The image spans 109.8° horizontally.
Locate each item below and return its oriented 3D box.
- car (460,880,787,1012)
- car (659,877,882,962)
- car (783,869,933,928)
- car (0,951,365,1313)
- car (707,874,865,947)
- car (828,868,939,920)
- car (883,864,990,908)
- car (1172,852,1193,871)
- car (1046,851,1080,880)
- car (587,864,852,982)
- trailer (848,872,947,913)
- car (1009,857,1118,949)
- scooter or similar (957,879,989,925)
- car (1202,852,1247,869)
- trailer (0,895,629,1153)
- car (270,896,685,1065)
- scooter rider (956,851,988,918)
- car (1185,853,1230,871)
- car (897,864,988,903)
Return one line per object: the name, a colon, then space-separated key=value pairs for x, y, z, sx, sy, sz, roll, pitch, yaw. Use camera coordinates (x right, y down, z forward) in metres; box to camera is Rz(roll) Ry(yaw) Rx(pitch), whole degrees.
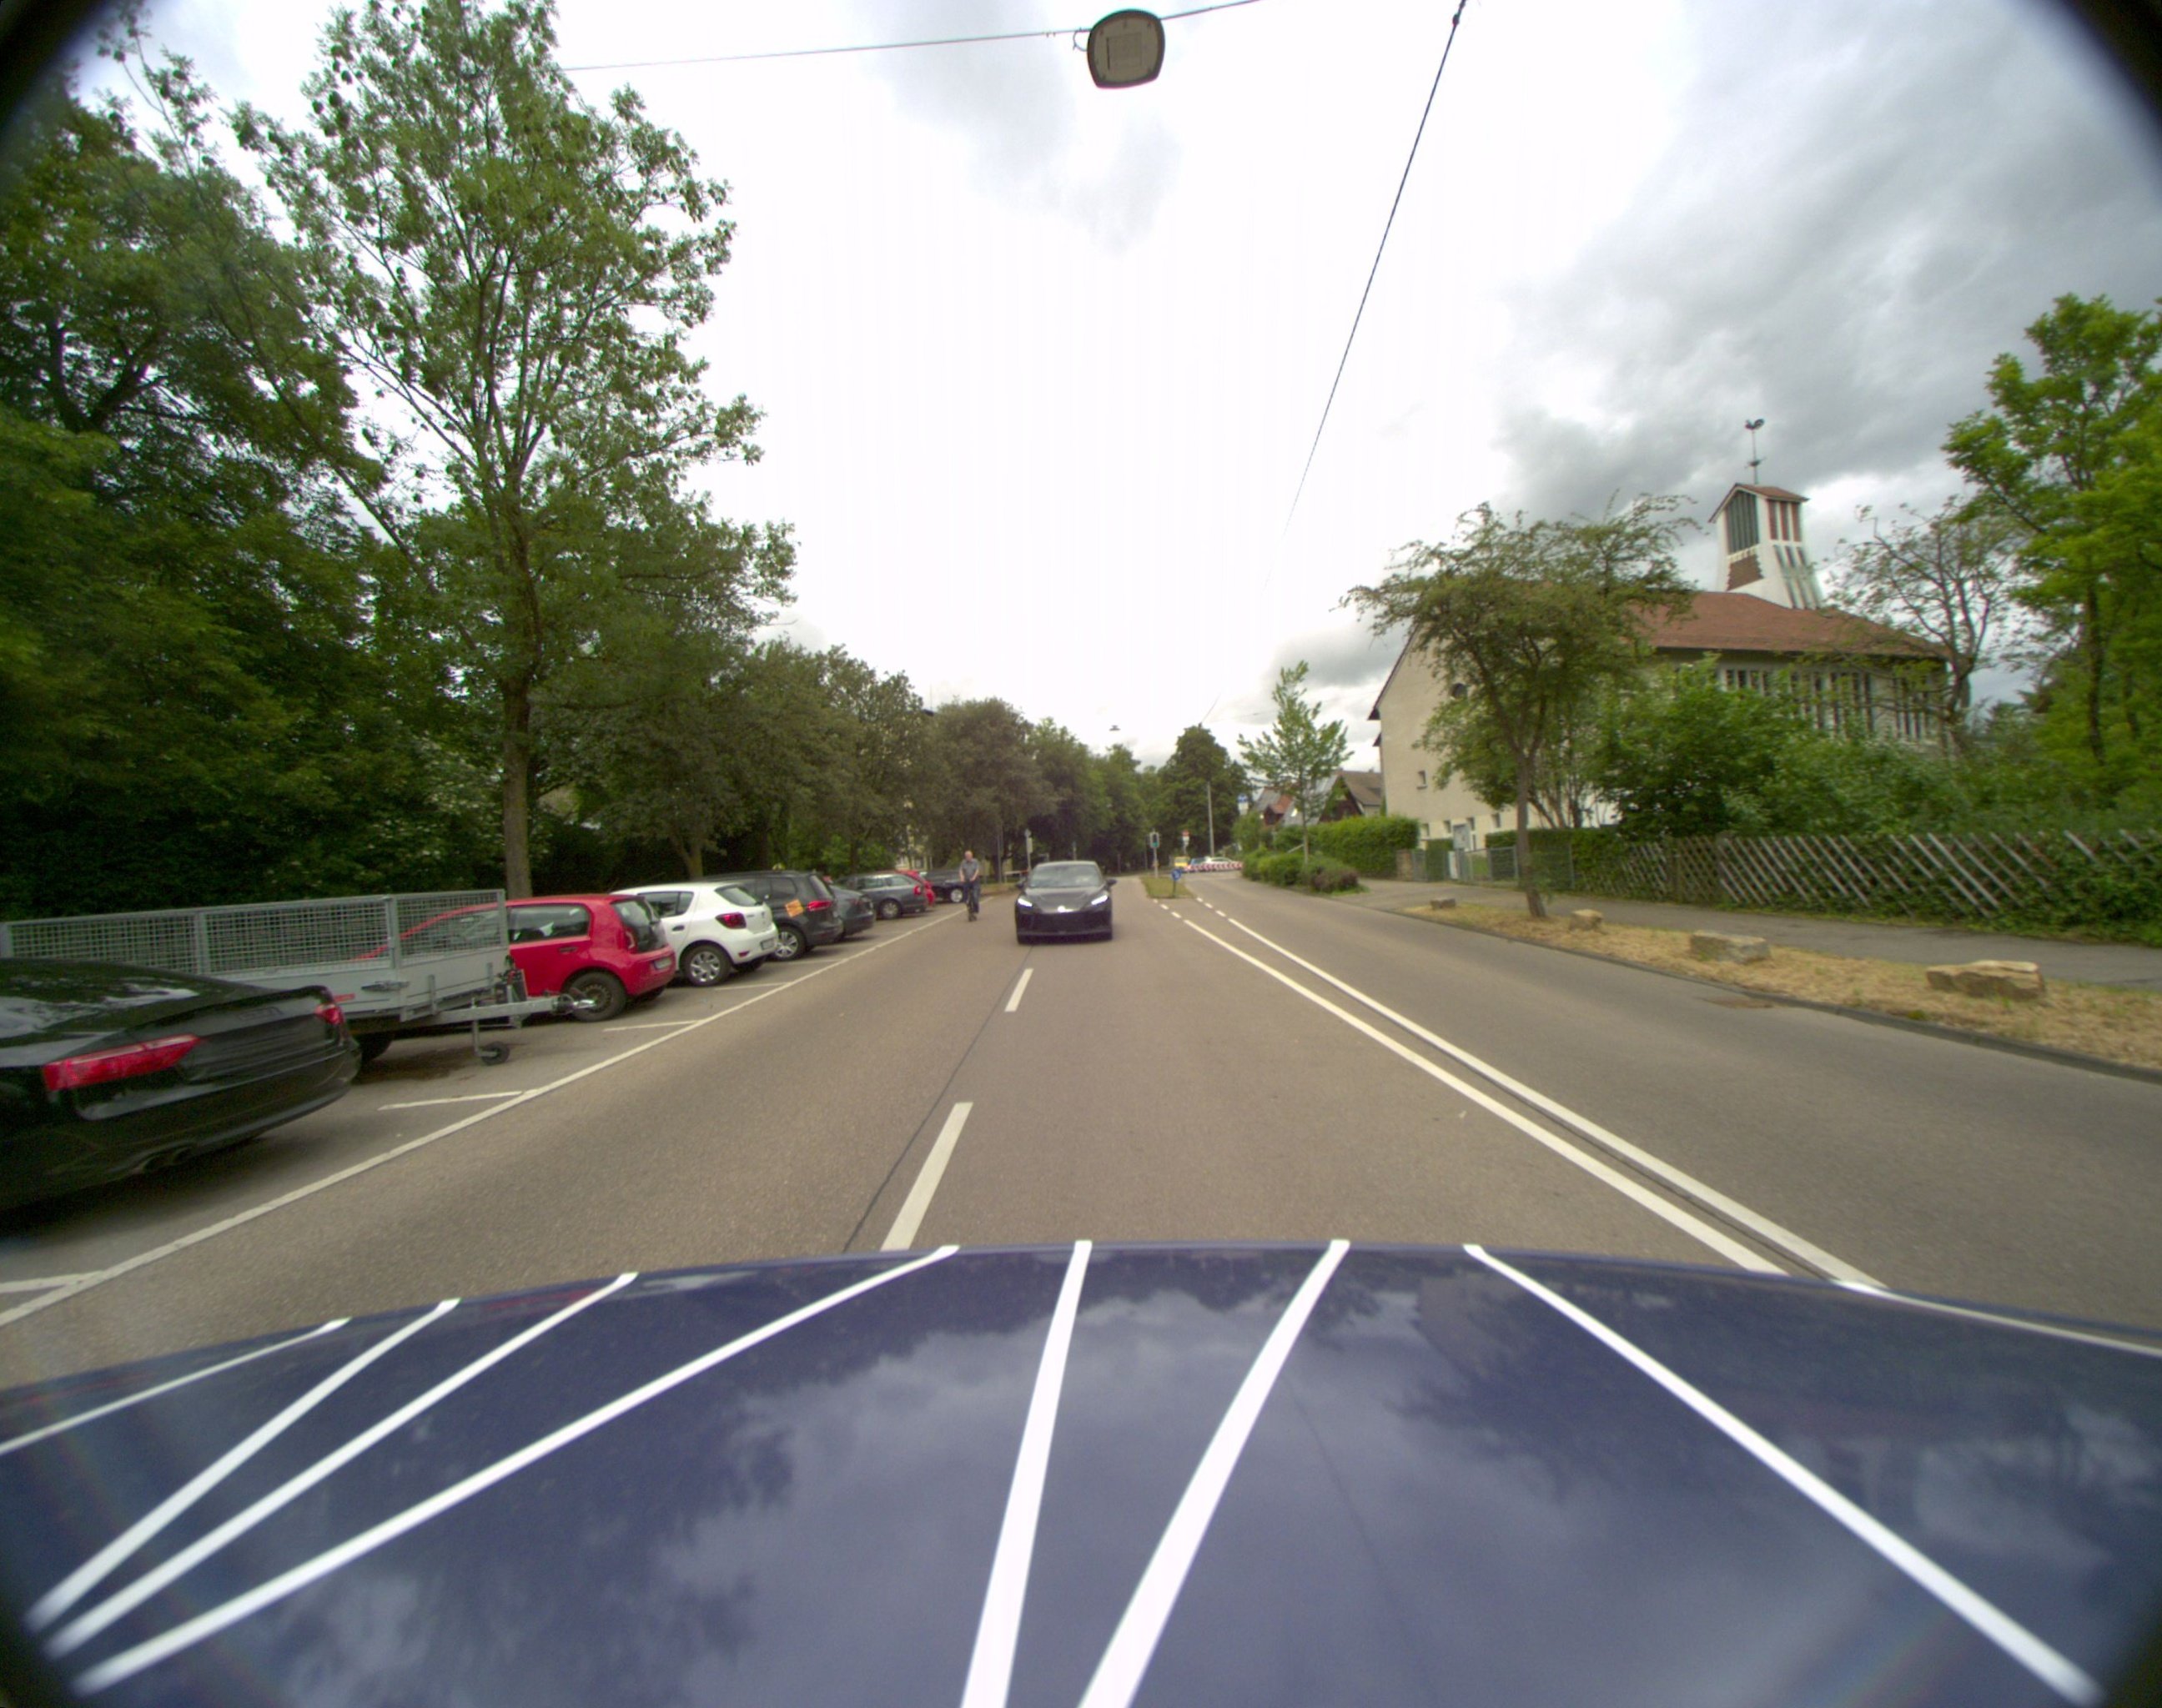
car: x=-6.711 y=1.310 z=11.473 sx=3.831 sy=1.520 sz=1.605 roll=-4 pitch=1 yaw=-3
car: x=-6.631 y=1.363 z=16.647 sx=4.173 sy=1.398 sz=1.696 roll=-4 pitch=1 yaw=-10
car: x=-6.872 y=1.354 z=23.784 sx=4.233 sy=1.455 sz=1.634 roll=-4 pitch=0 yaw=-8
car: x=-6.430 y=1.397 z=3.666 sx=4.050 sy=1.320 sz=1.558 roll=-4 pitch=1 yaw=-11
car: x=-7.263 y=1.365 z=18.999 sx=3.337 sy=1.455 sz=1.633 roll=-4 pitch=1 yaw=-9
car: x=-6.728 y=1.338 z=26.174 sx=3.535 sy=1.467 sz=1.591 roll=-4 pitch=0 yaw=-11
car: x=-5.939 y=1.300 z=31.419 sx=4.149 sy=1.467 sz=1.575 roll=-4 pitch=0 yaw=-11
car: x=11.338 y=0.846 z=85.088 sx=1.920 sy=1.977 sz=4.802 roll=-3 pitch=-1 yaw=5
car: x=-1.019 y=0.659 z=45.060 sx=1.814 sy=1.520 sz=4.000 roll=-3 pitch=0 yaw=1
car: x=-6.443 y=1.183 z=13.975 sx=3.999 sy=1.715 sz=1.679 roll=-4 pitch=1 yaw=-10
trailer: x=-6.875 y=1.432 z=28.734 sx=3.413 sy=1.259 sz=1.615 roll=-4 pitch=1 yaw=-9
car: x=-0.214 y=0.887 z=15.639 sx=1.803 sy=1.541 sz=4.299 roll=-3 pitch=0 yaw=3
scooter or similar: x=-2.945 y=1.291 z=20.773 sx=0.683 sy=1.132 sz=1.459 roll=-3 pitch=0 yaw=-4
car: x=14.021 y=0.635 z=74.554 sx=3.904 sy=1.463 sz=1.845 roll=-3 pitch=-2 yaw=-7
trailer: x=-6.349 y=1.297 z=6.619 sx=3.701 sy=1.526 sz=1.644 roll=-4 pitch=0 yaw=-10
car: x=-6.860 y=1.383 z=9.019 sx=3.436 sy=1.437 sz=1.558 roll=-4 pitch=1 yaw=-11
scooter rider: x=-2.966 y=0.815 z=20.705 sx=0.683 sy=1.720 sz=1.196 roll=-3 pitch=0 yaw=-4
car: x=12.806 y=0.794 z=77.054 sx=4.175 sy=1.537 sz=1.846 roll=-3 pitch=-2 yaw=0
car: x=-6.167 y=1.311 z=34.156 sx=3.725 sy=1.467 sz=1.576 roll=-4 pitch=0 yaw=-1
